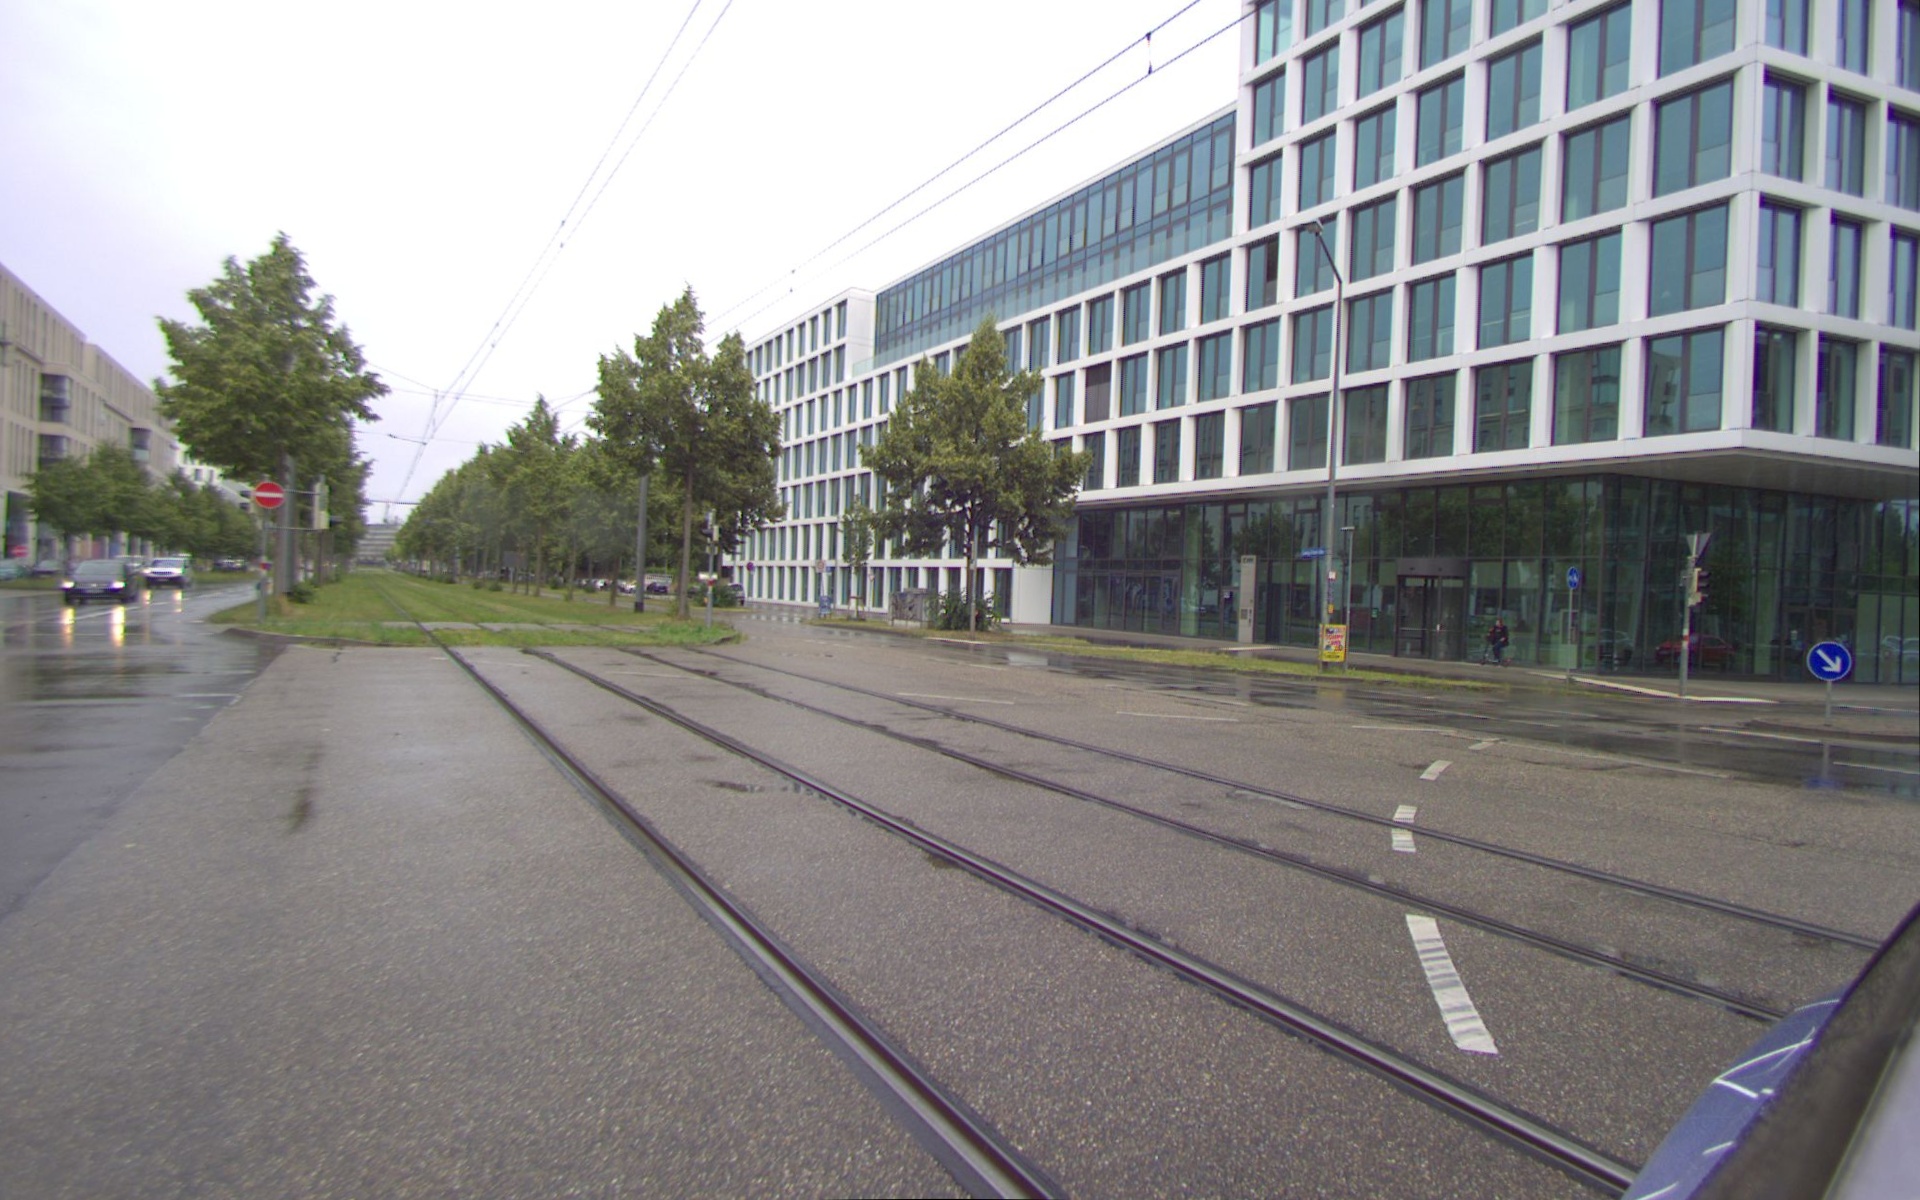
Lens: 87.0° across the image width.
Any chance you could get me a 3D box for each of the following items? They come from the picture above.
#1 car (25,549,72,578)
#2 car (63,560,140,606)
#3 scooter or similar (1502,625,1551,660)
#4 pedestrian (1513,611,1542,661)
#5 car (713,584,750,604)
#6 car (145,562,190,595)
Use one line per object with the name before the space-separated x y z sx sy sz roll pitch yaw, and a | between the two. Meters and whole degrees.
car | -55.908 -2.209 62.132 1.612 1.609 3.929 2 -1 -35
car | -31.365 -0.575 37.070 1.626 1.549 3.777 2 -1 -33
scooter or similar | 19.545 1.461 34.904 2.120 1.167 0.550 2 -2 -33
pedestrian | 19.536 1.226 34.817 0.622 1.664 0.547 2 1 -30
car | -19.809 -0.527 87.707 1.710 1.630 4.237 2 -1 -33
car | -49.801 -1.310 63.658 1.723 1.950 4.003 2 -1 -31
